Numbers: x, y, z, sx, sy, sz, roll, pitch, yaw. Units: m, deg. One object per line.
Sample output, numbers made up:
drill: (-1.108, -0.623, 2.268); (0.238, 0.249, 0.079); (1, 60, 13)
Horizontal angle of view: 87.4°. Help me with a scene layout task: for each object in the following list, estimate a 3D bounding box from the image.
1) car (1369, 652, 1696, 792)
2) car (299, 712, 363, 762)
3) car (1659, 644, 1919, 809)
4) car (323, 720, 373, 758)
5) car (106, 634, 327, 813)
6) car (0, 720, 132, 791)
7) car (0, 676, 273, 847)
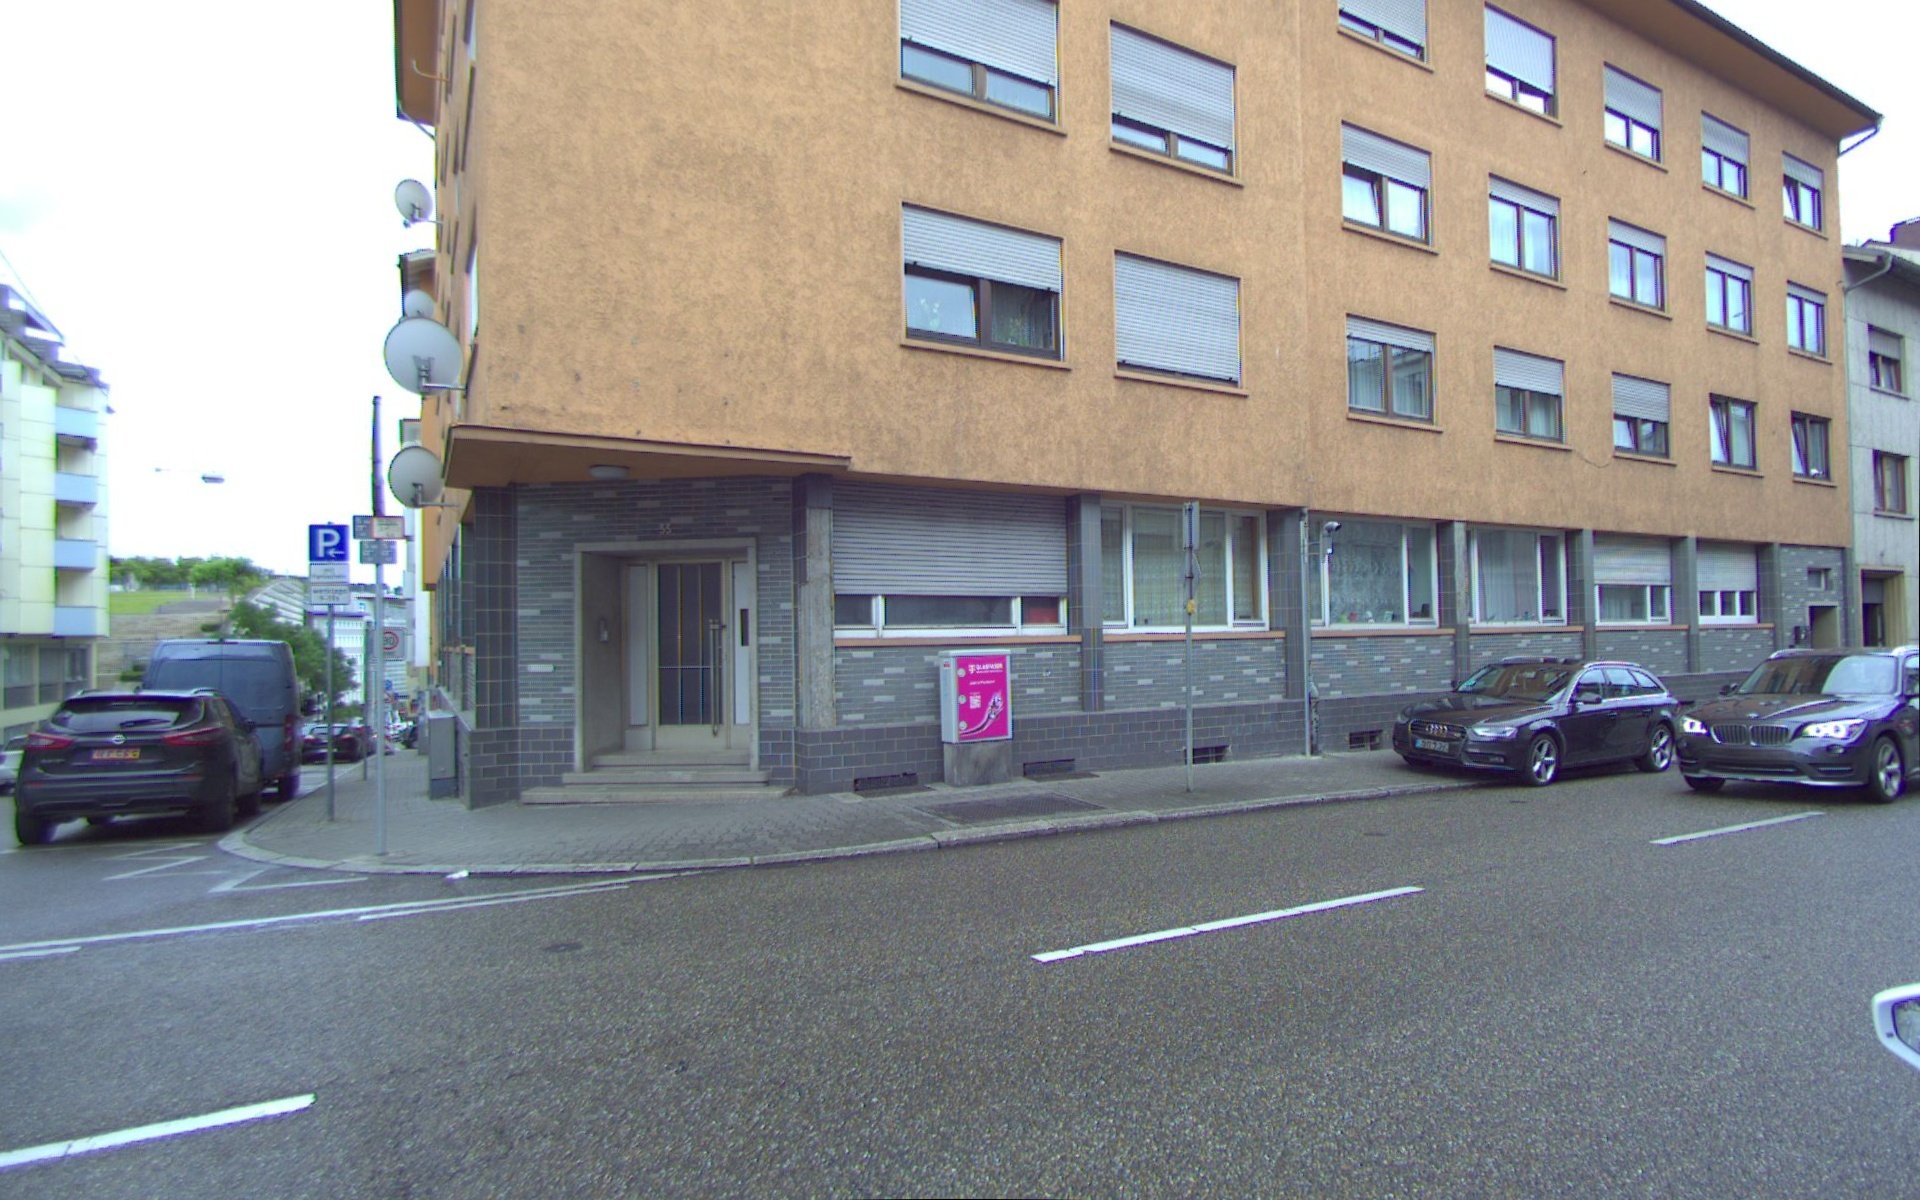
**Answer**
car: (7.631, 1.484, 13.287); (4.475, 1.457, 1.786); (1, 0, -31)
car: (-23.662, 5.162, 37.892); (1.796, 1.696, 4.026); (1, -7, -29)
car: (9.759, 1.283, 11.143); (4.111, 1.526, 1.695); (1, -5, -31)
car: (-27.193, 6.184, 44.728); (1.702, 1.513, 4.026); (1, -7, -29)
car: (-12.450, 2.081, 17.310); (2.223, 2.492, 6.017); (1, -7, -29)
car: (-22.487, 3.854, 25.265); (1.819, 1.566, 3.973); (1, -7, -29)
car: (-9.447, 1.828, 11.831); (1.820, 1.596, 4.127); (1, -7, -29)
